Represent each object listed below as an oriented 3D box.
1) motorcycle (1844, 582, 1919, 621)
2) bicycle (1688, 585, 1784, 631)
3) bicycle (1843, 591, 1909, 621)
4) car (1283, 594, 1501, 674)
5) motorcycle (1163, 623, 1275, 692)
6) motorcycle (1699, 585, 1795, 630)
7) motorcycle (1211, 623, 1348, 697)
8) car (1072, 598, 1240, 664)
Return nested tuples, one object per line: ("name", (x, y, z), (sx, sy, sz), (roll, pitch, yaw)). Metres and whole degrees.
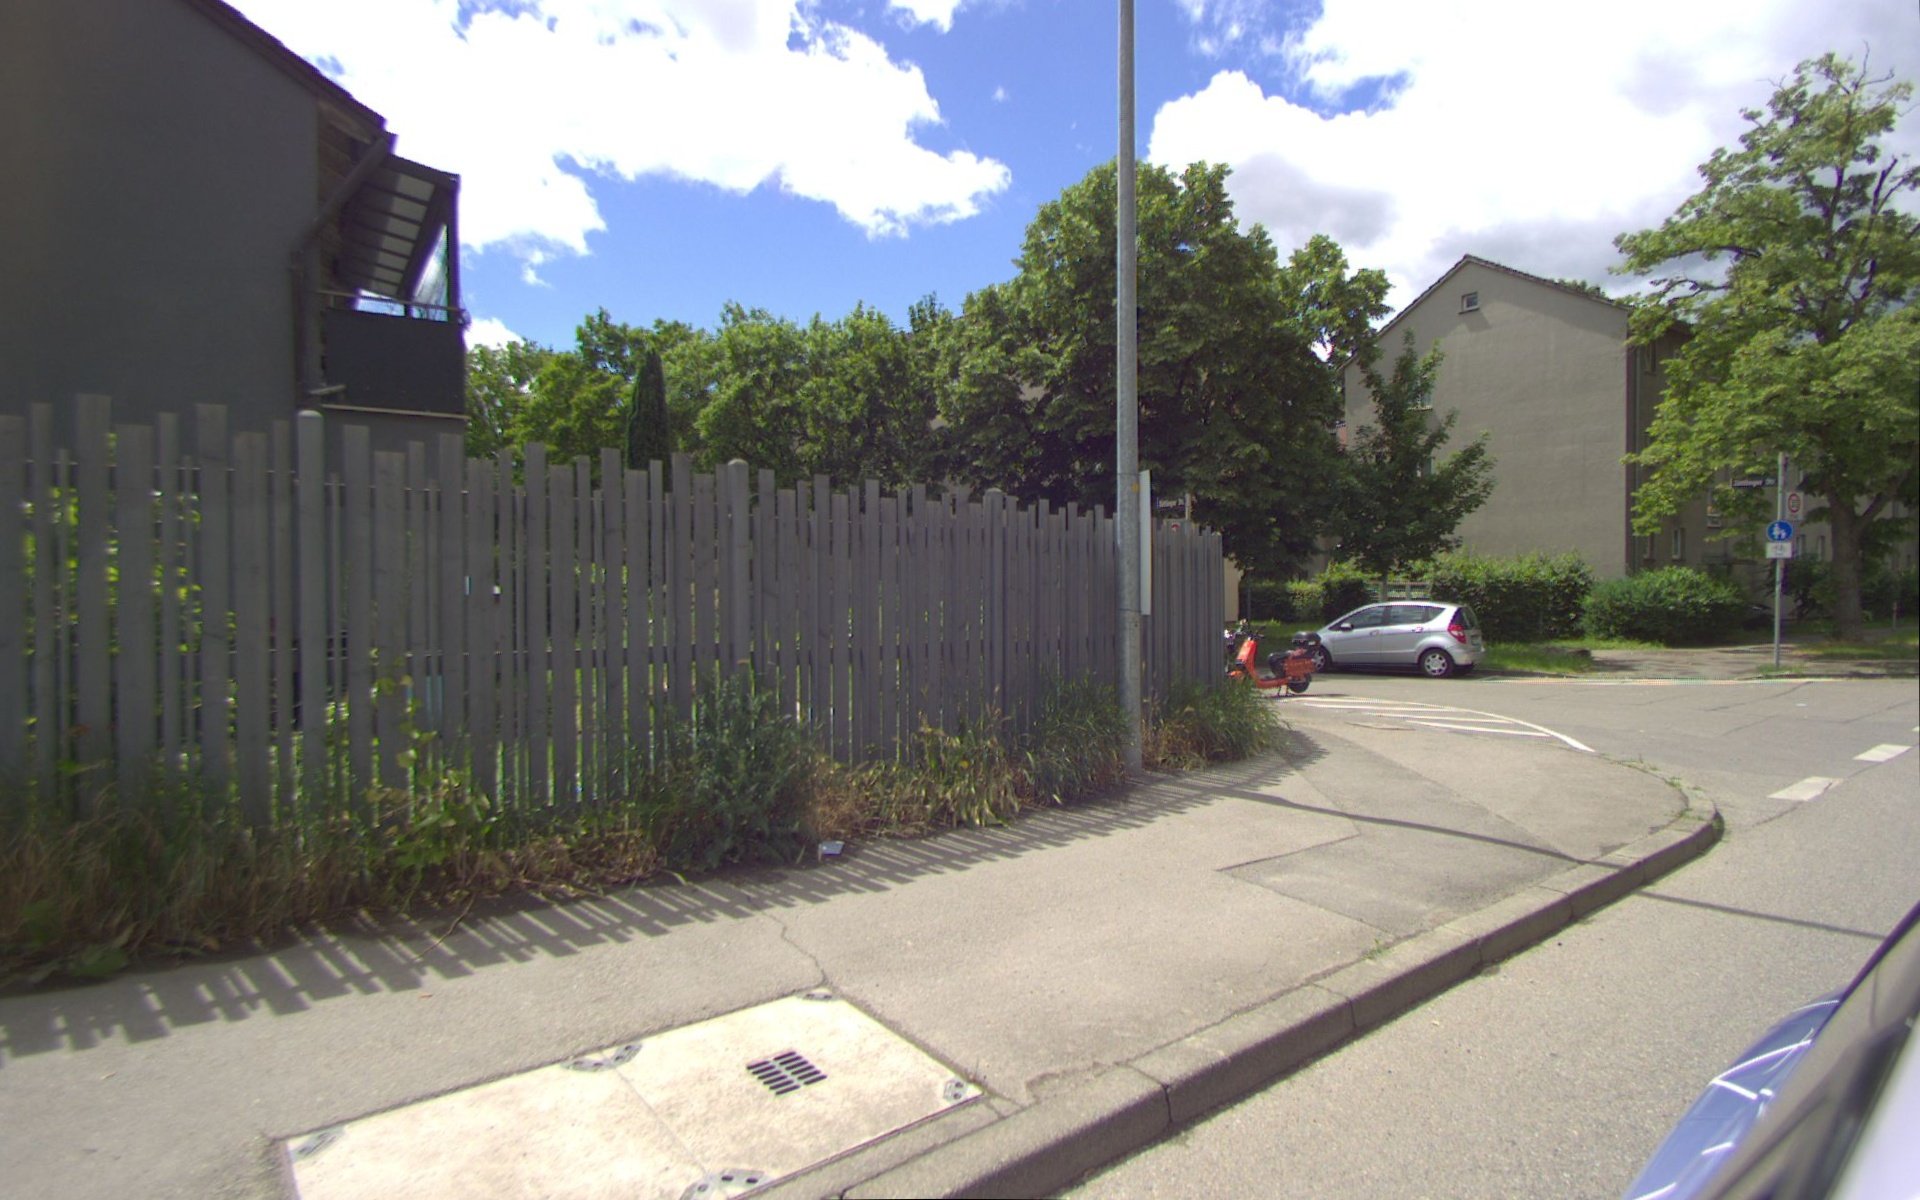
("motorcycle", (35.315, 0.044, 38.755), (0.996, 1.447, 2.006), (0, 1, -29))
("bicycle", (23.211, 0.214, 30.314), (0.667, 1.298, 2.176), (-1, 1, -31))
("bicycle", (34.622, 0.213, 38.265), (0.446, 1.098, 1.804), (0, 1, -34))
("car", (9.357, 0.686, 22.103), (3.985, 1.573, 1.909), (-1, 0, 43))
("motorcycle", (4.790, 1.038, 18.683), (1.951, 1.163, 0.662), (-1, -1, -21))
("motorcycle", (23.861, 0.214, 30.744), (0.667, 1.298, 2.214), (-1, 1, -31))
("motorcycle", (5.621, 1.024, 17.771), (2.374, 1.163, 0.662), (-1, -1, -21))
("car", (5.030, 0.752, 26.266), (4.003, 1.583, 1.754), (0, -1, 43))
